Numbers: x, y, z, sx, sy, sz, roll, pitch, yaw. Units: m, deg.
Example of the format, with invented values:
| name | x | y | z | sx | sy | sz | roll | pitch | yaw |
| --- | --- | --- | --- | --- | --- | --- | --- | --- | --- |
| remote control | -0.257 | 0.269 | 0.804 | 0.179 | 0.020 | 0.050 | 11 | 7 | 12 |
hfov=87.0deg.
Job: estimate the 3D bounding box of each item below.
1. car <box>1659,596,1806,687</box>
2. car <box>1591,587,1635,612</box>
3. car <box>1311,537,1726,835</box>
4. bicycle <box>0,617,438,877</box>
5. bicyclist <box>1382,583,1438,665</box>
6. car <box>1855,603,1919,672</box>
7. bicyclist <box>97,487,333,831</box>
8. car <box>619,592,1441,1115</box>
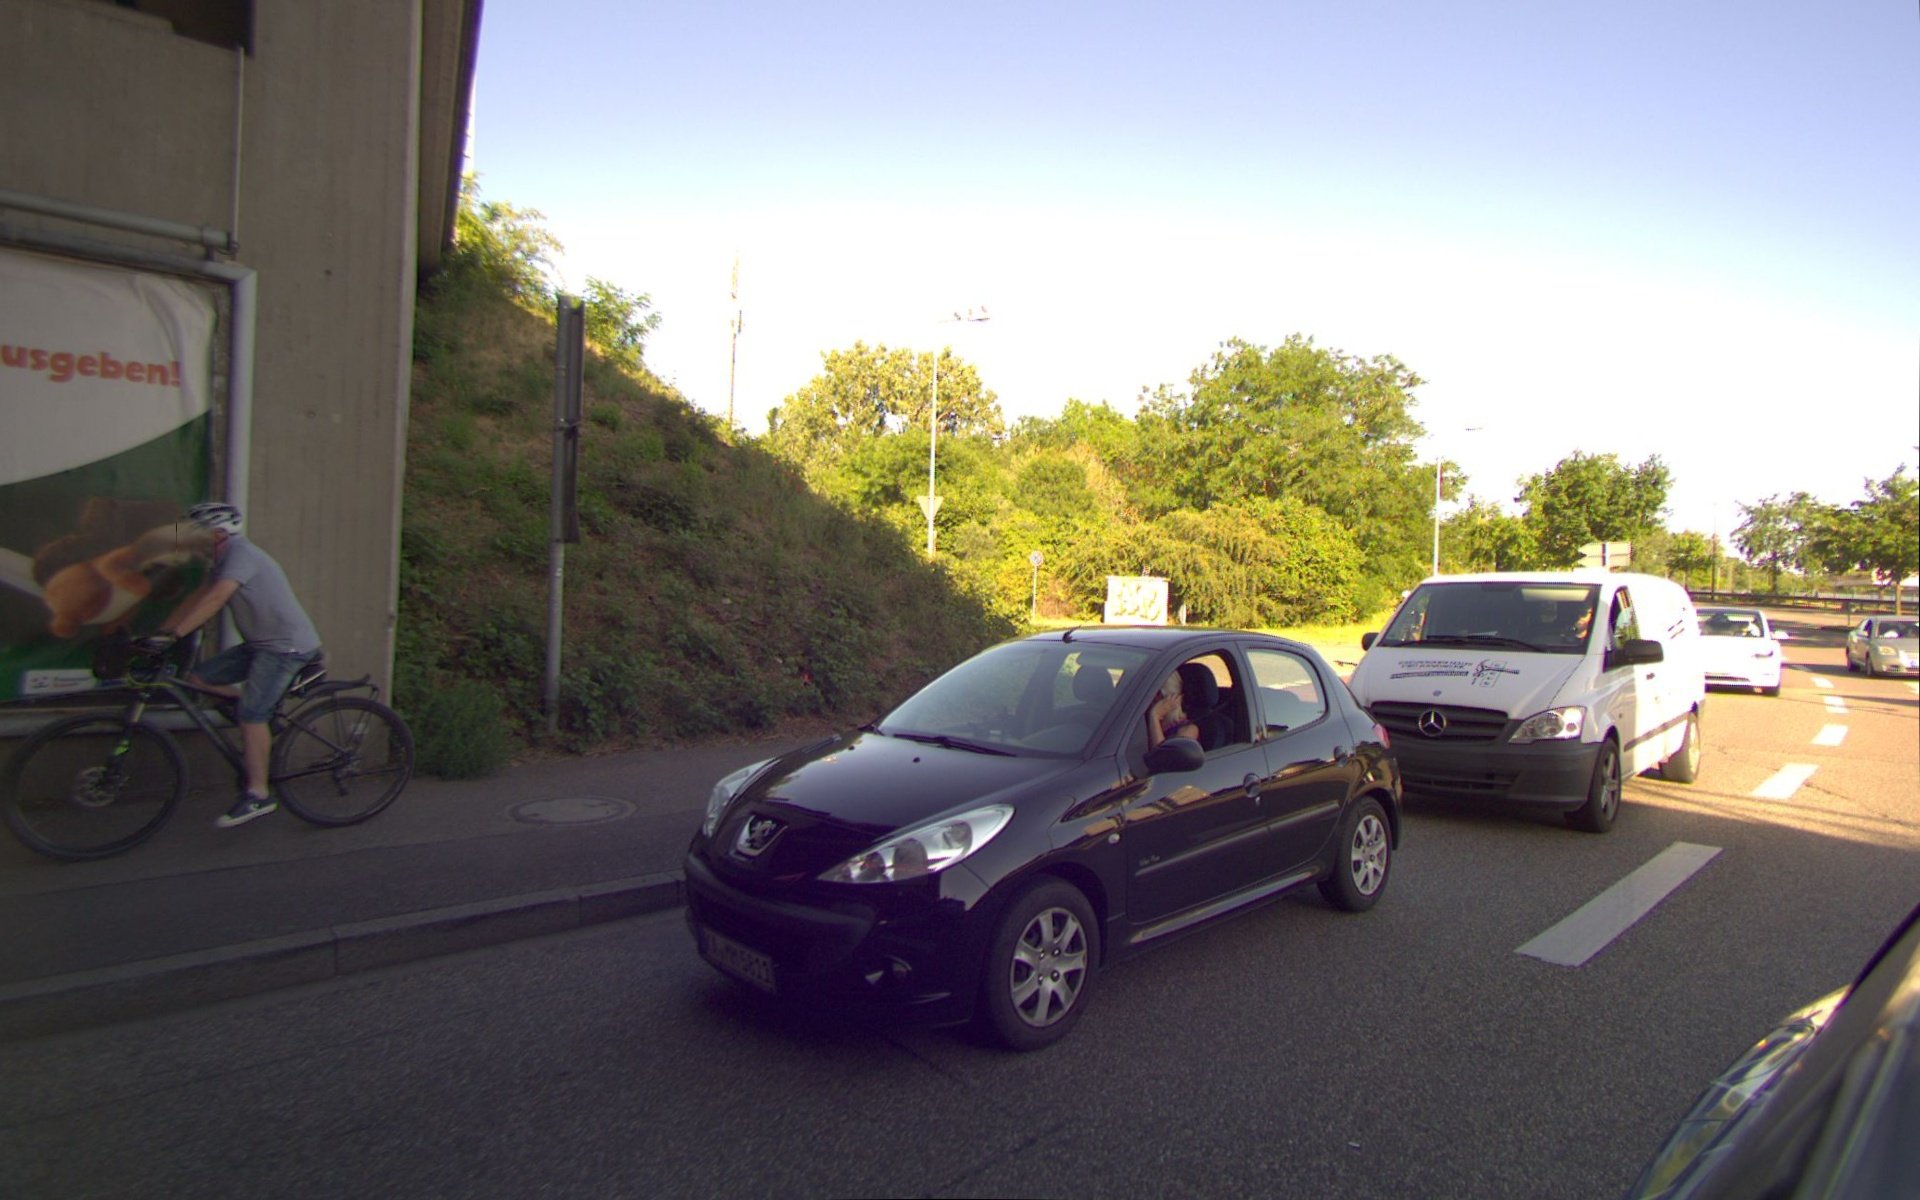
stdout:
| name | x | y | z | sx | sy | sz | roll | pitch | yaw |
| --- | --- | --- | --- | --- | --- | --- | --- | --- | --- |
| car | 15.581 | 0.732 | 20.322 | 1.993 | 1.570 | 4.353 | 1 | 1 | 42 |
| car | 41.277 | -0.048 | 64.034 | 1.755 | 1.460 | 3.966 | 1 | 1 | 25 |
| car | 5.012 | 0.578 | 8.695 | 1.898 | 1.859 | 4.756 | 0 | -1 | 45 |
| bicycle | -3.675 | 0.648 | 5.112 | 1.728 | 1.070 | 0.703 | 1 | 2 | -38 |
| bicyclist | 9.369 | 0.483 | 21.088 | 0.870 | 1.676 | 0.748 | 0 | 0 | -38 |
| car | 23.151 | 0.871 | 24.501 | 1.691 | 1.473 | 4.343 | 1 | 1 | 35 |
| bicyclist | -3.702 | 0.244 | 5.062 | 0.893 | 1.542 | 0.697 | 0 | 3 | -37 |
| car | 0.536 | 0.717 | 4.719 | 3.650 | 1.474 | 1.749 | 0 | 0 | -40 |
